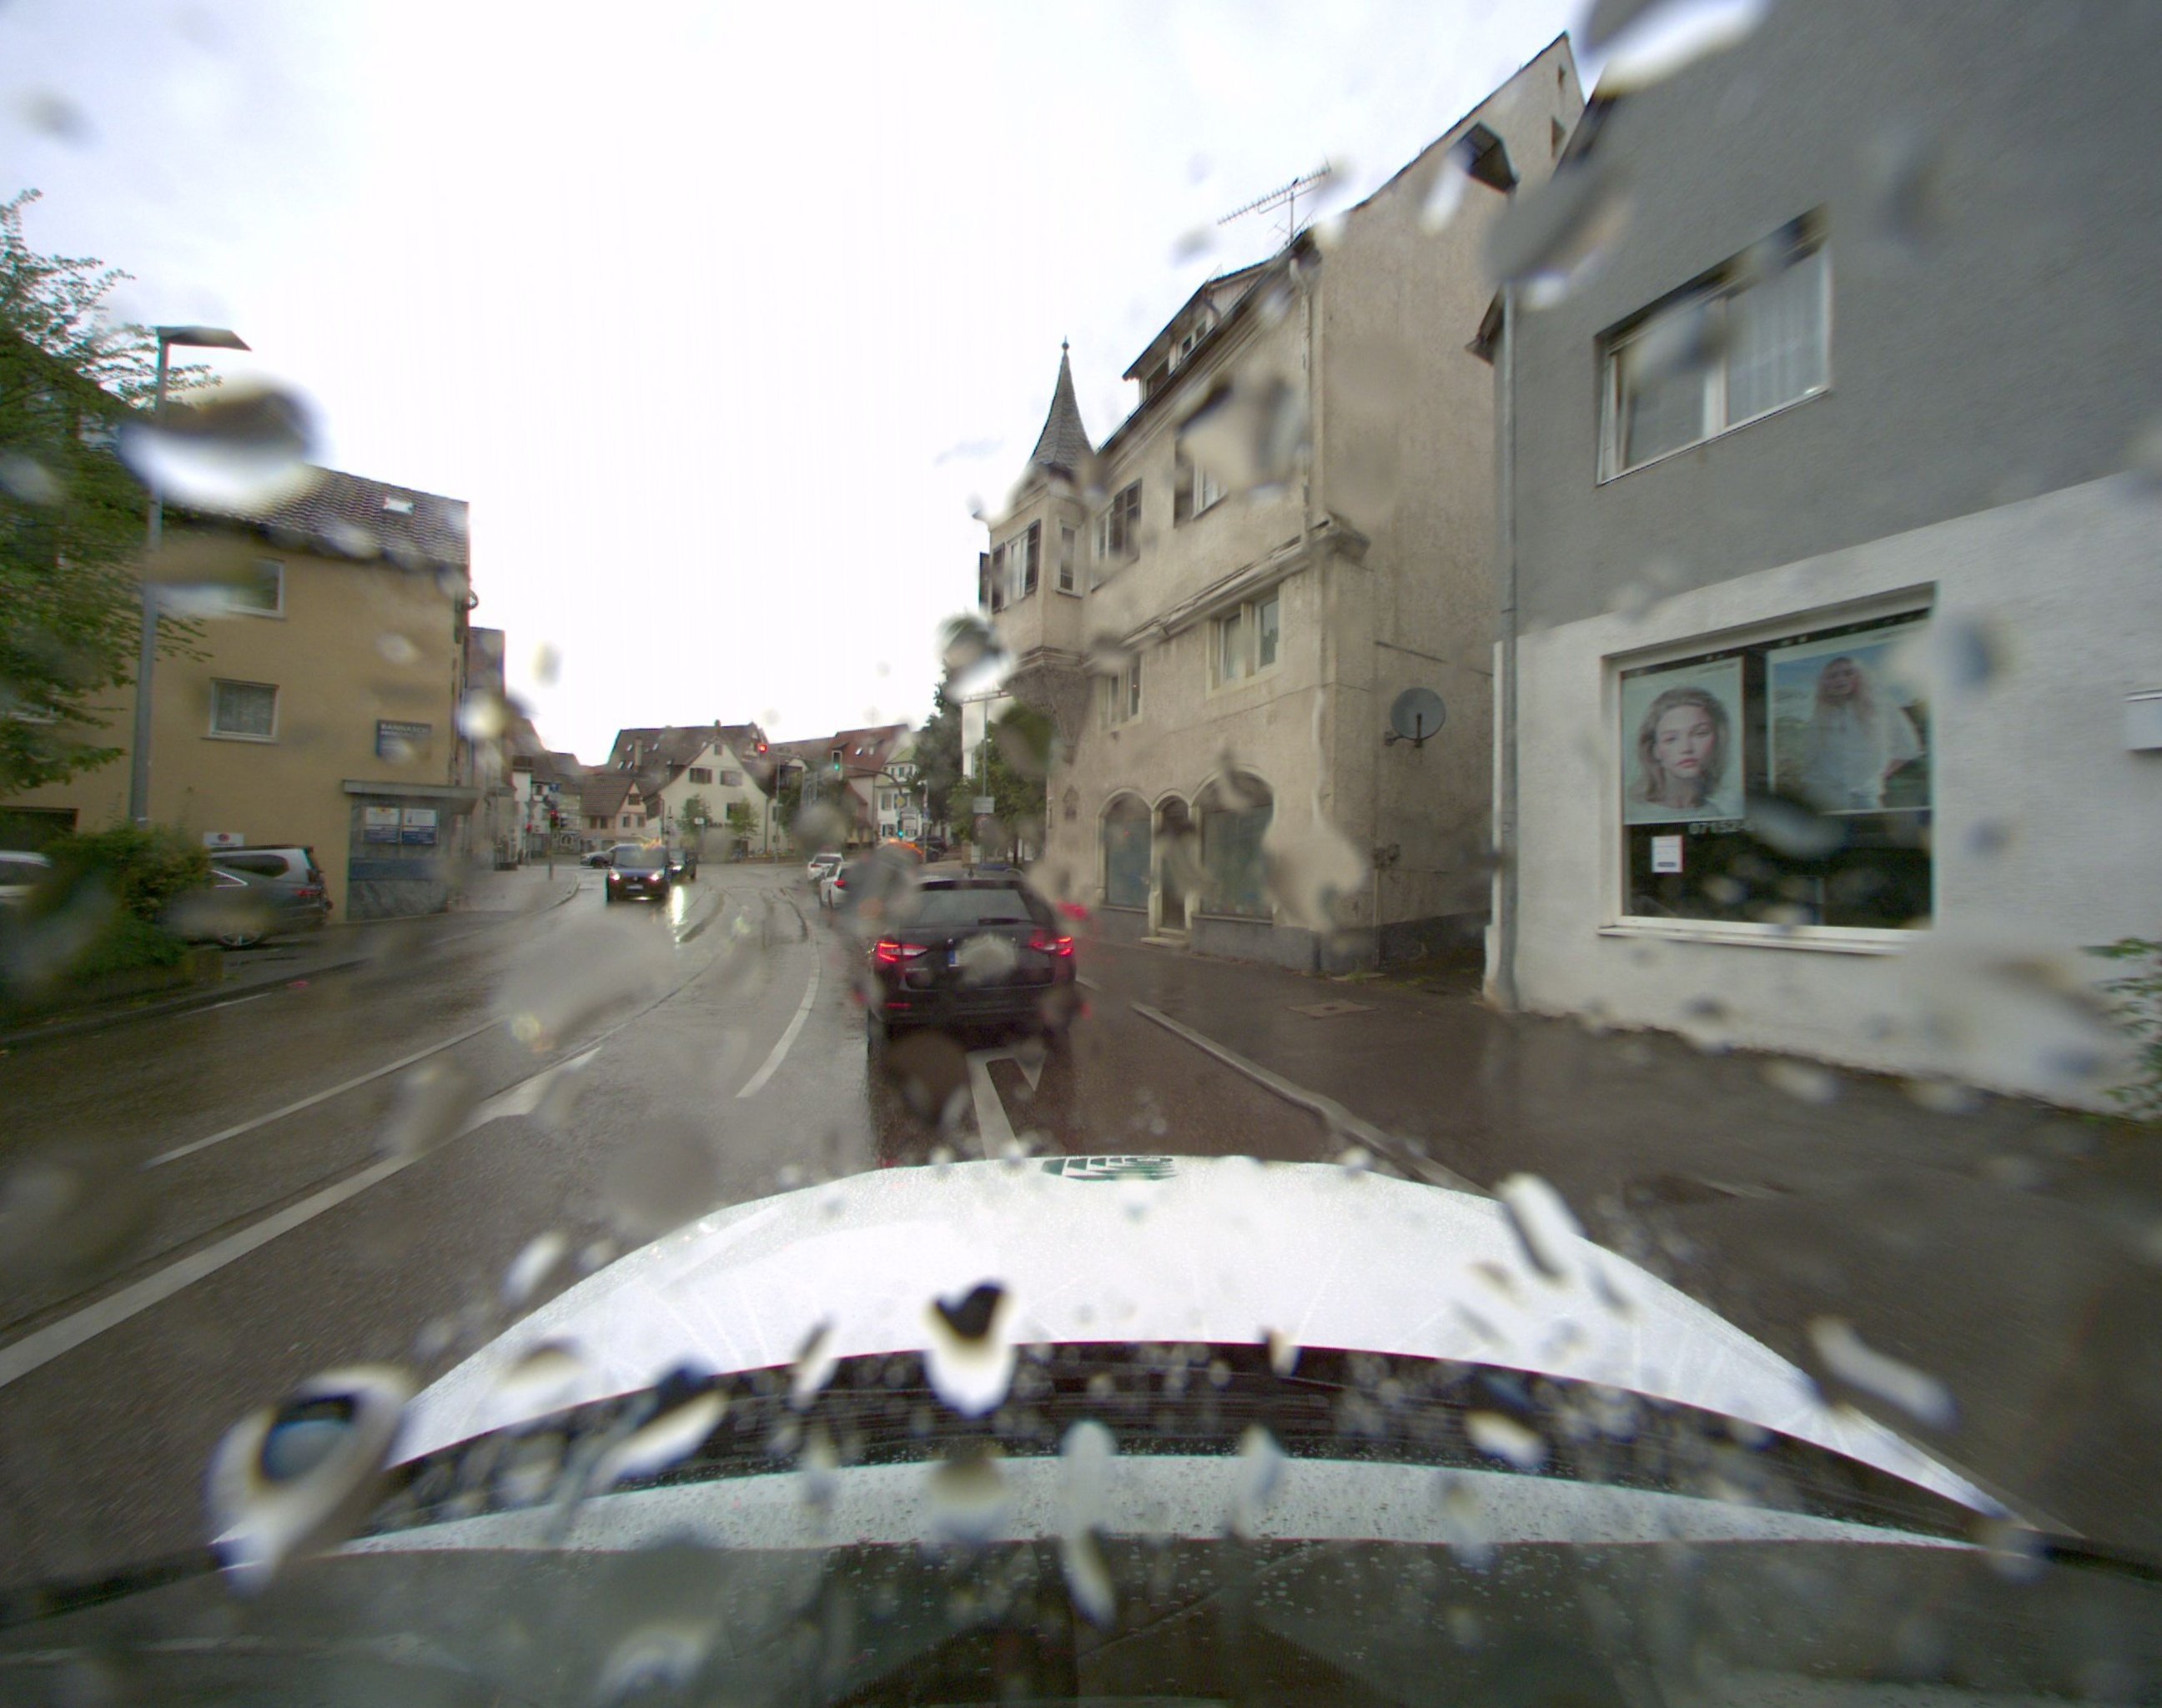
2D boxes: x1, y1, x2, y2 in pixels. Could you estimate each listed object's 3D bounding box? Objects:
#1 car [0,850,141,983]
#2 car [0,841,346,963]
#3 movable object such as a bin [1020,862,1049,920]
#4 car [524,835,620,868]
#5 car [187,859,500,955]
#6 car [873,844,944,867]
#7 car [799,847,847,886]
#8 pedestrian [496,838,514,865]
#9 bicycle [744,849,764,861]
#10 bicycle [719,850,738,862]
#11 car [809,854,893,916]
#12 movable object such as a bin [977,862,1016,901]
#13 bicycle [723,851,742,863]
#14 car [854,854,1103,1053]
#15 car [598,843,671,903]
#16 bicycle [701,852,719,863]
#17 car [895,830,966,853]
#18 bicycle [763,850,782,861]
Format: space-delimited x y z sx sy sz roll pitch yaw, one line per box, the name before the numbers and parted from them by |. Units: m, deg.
car | -14.417 0.749 10.019 1.975 1.629 3.667 0 -1 42
car | -18.289 0.831 16.414 4.961 1.824 1.940 -6 6 -40
movable object such as a bin | -1.194 0.941 20.896 0.415 1.442 0.636 0 1 -45
car | -29.321 -0.113 46.953 4.498 1.591 1.978 4 -1 -36
car | -13.226 0.845 14.888 4.022 1.453 1.877 0 1 -43
car | -10.892 0.105 51.675 1.974 1.302 4.025 2 0 36
car | -11.927 0.530 37.546 1.892 1.595 4.297 1 1 -20
pedestrian | -39.483 -0.167 55.808 0.705 1.830 0.804 1 3 38
bicycle | -26.257 0.078 65.343 0.388 0.912 1.479 4 2 36
bicycle | -27.422 0.163 63.438 0.388 0.912 1.478 1 1 24
car | -7.012 0.848 24.594 1.865 1.472 3.969 -1 3 -25
movable object such as a bin | -2.944 0.953 28.331 1.156 1.313 1.180 1 -1 -15
bicycle | -27.032 0.221 63.216 0.388 0.912 1.478 1 1 24
car | -1.270 0.828 8.320 1.890 1.448 4.334 1 -3 -14
car | -15.068 0.567 27.563 2.005 1.881 4.338 0 0 -29
bicycle | -28.244 0.240 61.984 0.335 0.818 1.443 4 2 15
car | -10.897 -0.919 59.049 4.768 1.588 1.811 0 1 -35
bicycle | -25.118 0.122 66.377 0.388 0.912 1.479 4 2 36
